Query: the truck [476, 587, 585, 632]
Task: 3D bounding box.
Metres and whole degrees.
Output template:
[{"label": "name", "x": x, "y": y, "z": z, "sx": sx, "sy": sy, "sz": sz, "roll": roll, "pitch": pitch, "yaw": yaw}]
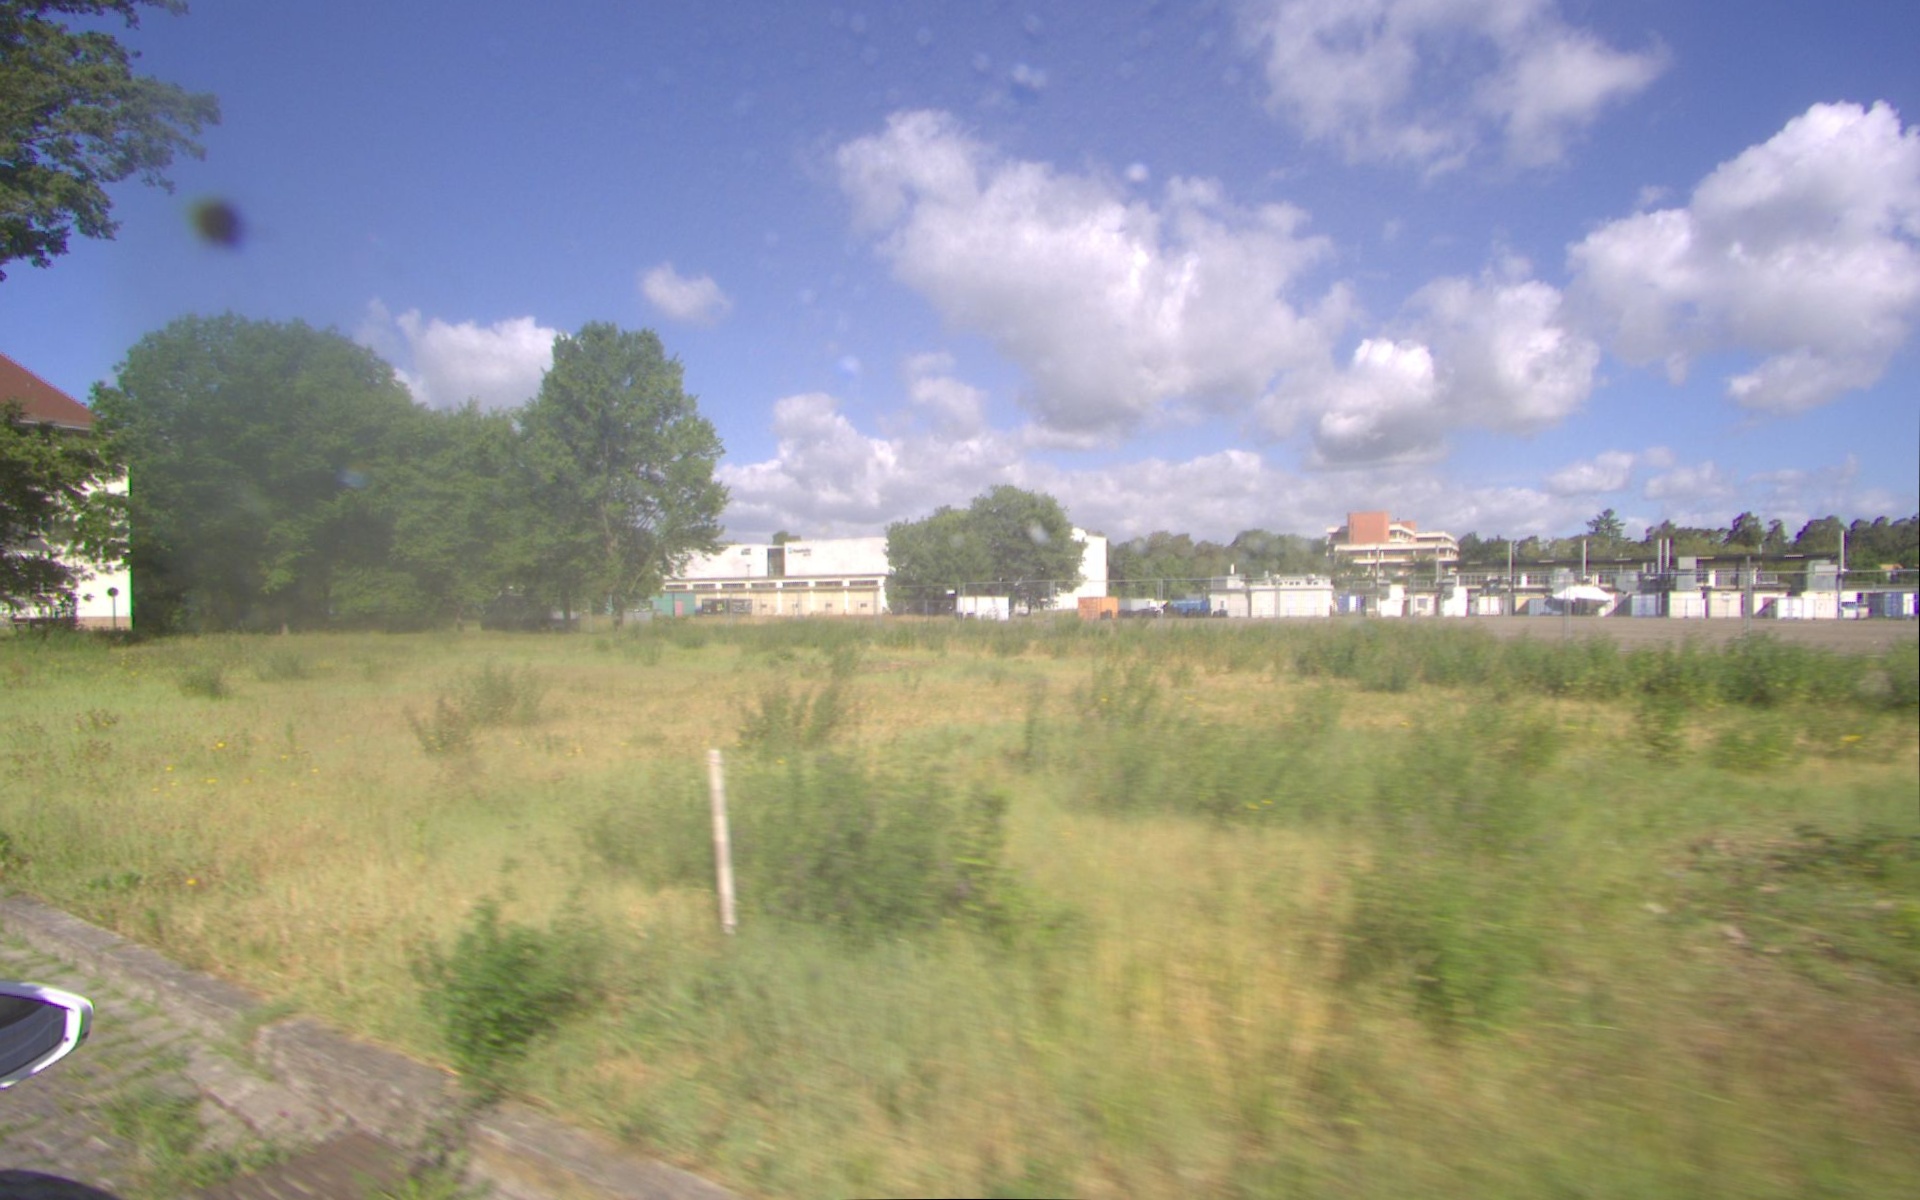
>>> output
[{"label": "truck", "x": -24.680, "y": 0.593, "z": 57.437, "sx": 6.785, "sy": 2.455, "sz": 2.230, "roll": 0, "pitch": -1, "yaw": 31}]
